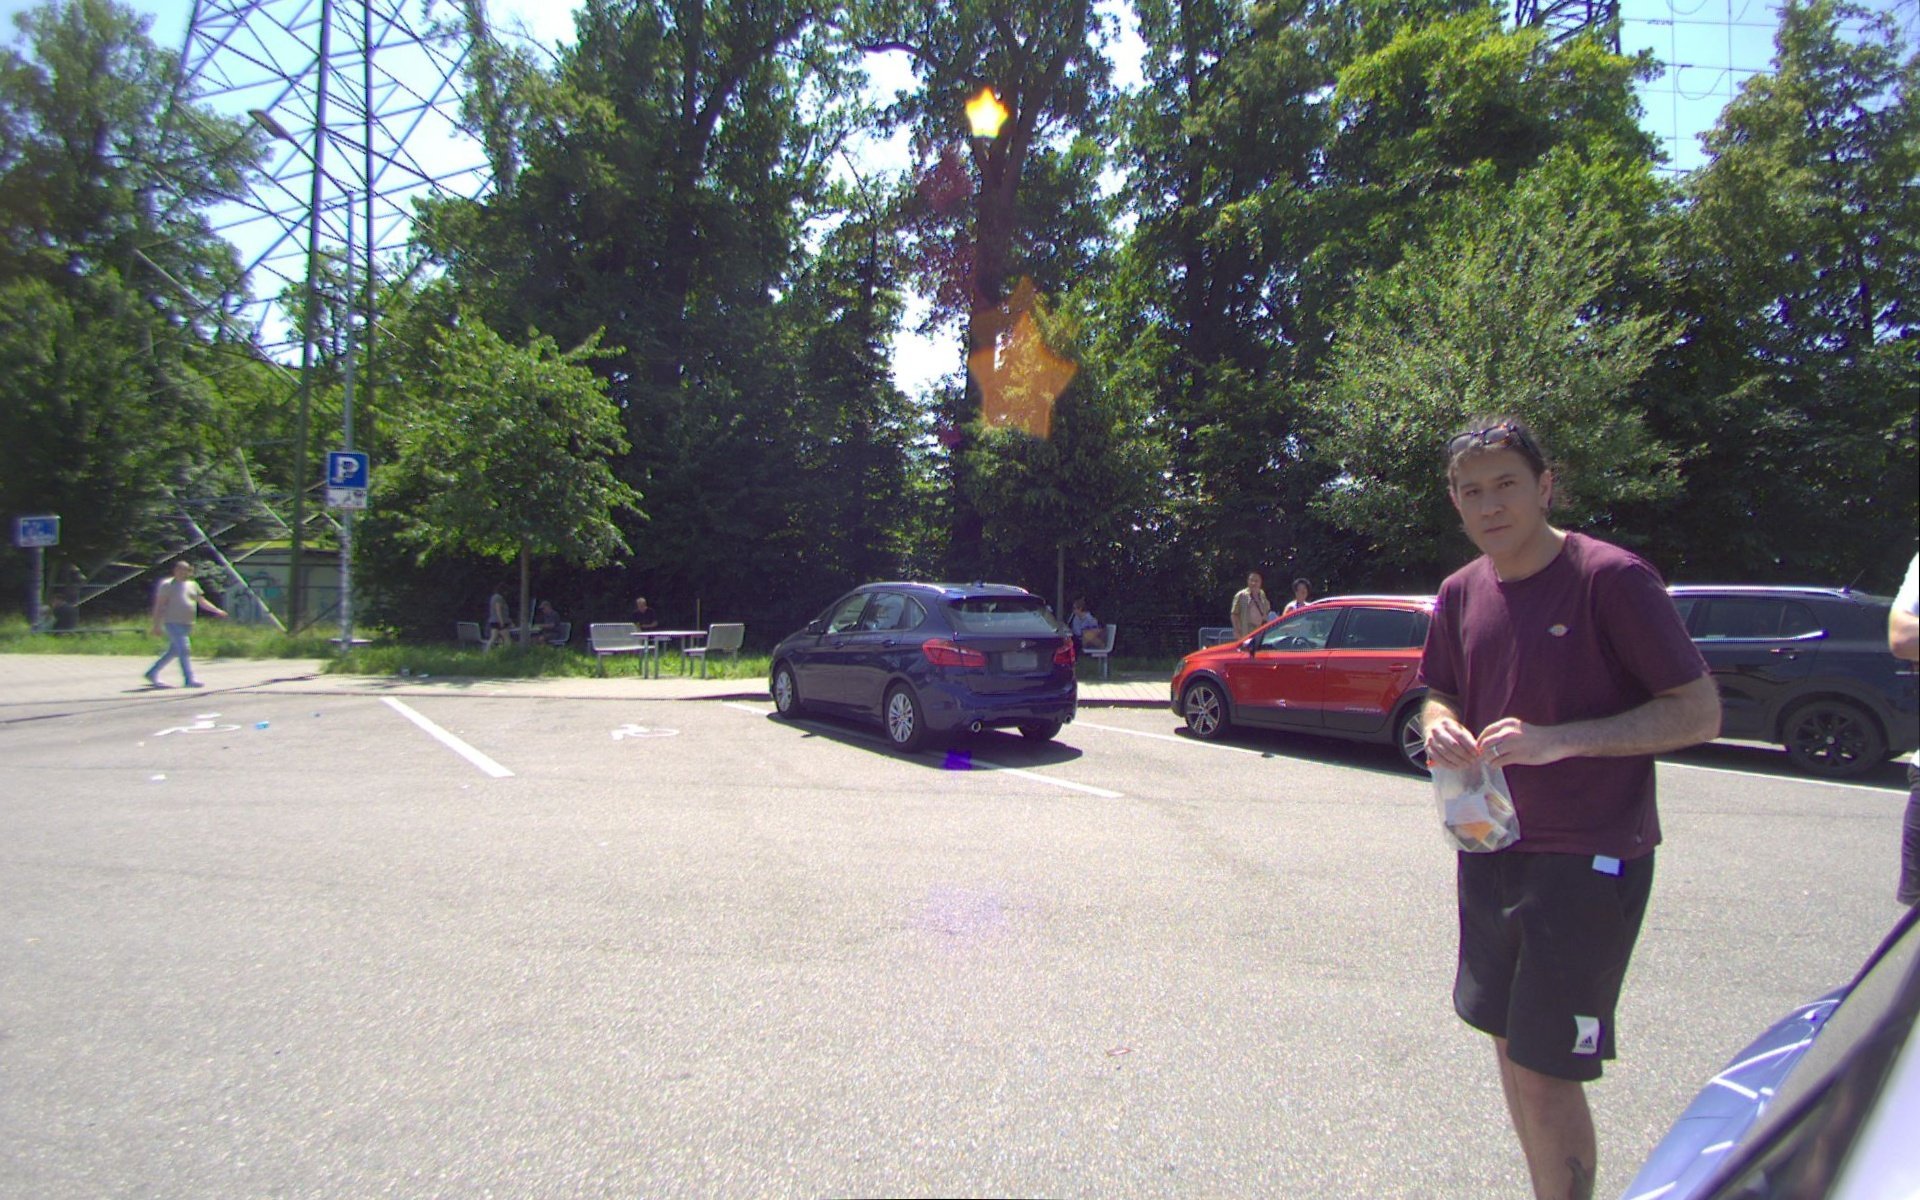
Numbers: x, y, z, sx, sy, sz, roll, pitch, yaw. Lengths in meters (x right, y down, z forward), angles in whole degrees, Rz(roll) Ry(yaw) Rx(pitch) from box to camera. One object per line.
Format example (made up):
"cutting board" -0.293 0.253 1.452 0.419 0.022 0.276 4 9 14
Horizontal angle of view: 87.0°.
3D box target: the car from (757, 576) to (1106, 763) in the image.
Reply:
"car" -0.535 0.544 10.808 1.714 1.572 4.347 0 1 -33

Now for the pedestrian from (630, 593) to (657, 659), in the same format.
"pedestrian" -6.680 0.539 21.366 0.438 1.363 0.462 0 0 -5

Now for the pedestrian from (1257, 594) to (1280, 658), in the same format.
"pedestrian" 5.825 0.485 19.146 0.350 1.180 0.384 0 0 8

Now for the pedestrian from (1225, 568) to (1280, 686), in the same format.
"pedestrian" 4.106 0.373 14.238 0.636 1.625 0.571 0 0 6

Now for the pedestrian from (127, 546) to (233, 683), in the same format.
"pedestrian" -11.254 0.204 14.626 0.904 1.929 0.813 0 0 3

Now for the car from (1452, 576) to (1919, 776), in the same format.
"car" 7.103 0.585 9.885 1.620 1.575 3.826 0 0 -37

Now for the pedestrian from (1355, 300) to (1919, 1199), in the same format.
"pedestrian" 1.333 0.492 2.058 0.908 1.929 0.810 0 0 17

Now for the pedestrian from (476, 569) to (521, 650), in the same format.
"pedestrian" -9.735 0.189 21.366 0.700 1.670 0.688 0 0 -9

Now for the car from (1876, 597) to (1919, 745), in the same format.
"car" 10.903 0.696 9.030 1.620 1.420 3.826 0 0 -37

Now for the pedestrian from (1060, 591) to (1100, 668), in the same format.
"pedestrian" 2.009 0.487 16.876 0.586 1.261 0.498 0 0 16

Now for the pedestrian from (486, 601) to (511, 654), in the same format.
"pedestrian" -10.428 0.607 22.877 0.452 1.182 0.447 0 0 -34

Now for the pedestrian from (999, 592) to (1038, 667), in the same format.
"pedestrian" 0.996 0.489 17.132 0.586 1.261 0.445 0 0 16

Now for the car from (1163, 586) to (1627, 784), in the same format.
"car" 3.887 0.627 9.668 1.619 1.487 3.830 0 0 -33

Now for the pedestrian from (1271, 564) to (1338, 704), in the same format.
"pedestrian" 4.111 0.394 12.120 0.636 1.625 0.571 0 0 6

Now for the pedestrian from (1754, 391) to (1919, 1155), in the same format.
"pedestrian" 2.915 0.445 2.724 0.902 1.974 0.815 0 0 -10

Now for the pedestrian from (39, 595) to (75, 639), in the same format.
"pedestrian" -20.946 0.390 23.477 0.452 0.987 0.447 0 0 -2

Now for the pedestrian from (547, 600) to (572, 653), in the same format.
"pedestrian" -9.339 0.608 23.618 0.452 1.209 0.447 0 0 -34
